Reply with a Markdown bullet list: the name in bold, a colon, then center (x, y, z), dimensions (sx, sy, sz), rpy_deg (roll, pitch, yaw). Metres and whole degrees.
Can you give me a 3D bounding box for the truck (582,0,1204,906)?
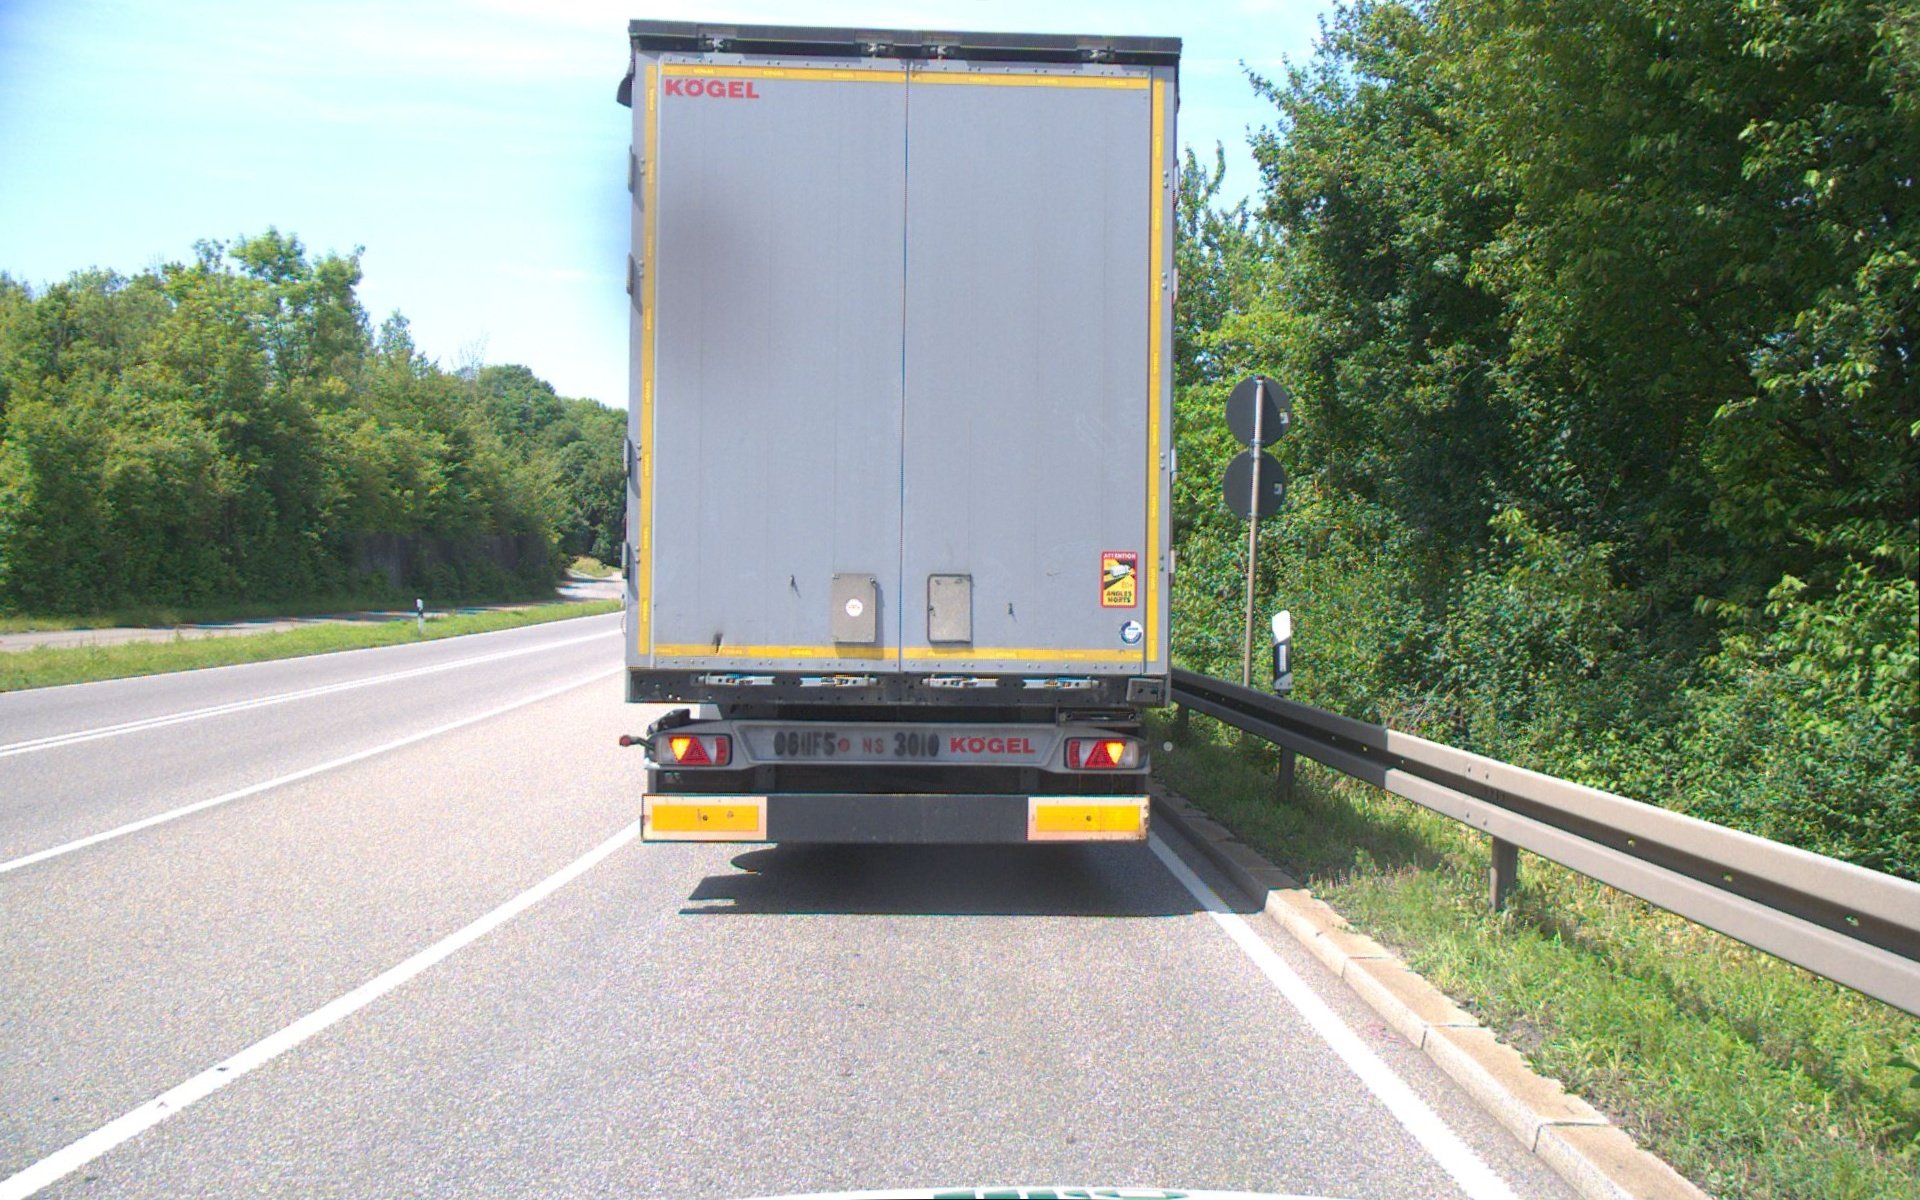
- **truck**: center (-0.446, -0.746, 13.278), dimensions (2.701, 4.100, 11.920), rpy_deg (1, 0, -2)
